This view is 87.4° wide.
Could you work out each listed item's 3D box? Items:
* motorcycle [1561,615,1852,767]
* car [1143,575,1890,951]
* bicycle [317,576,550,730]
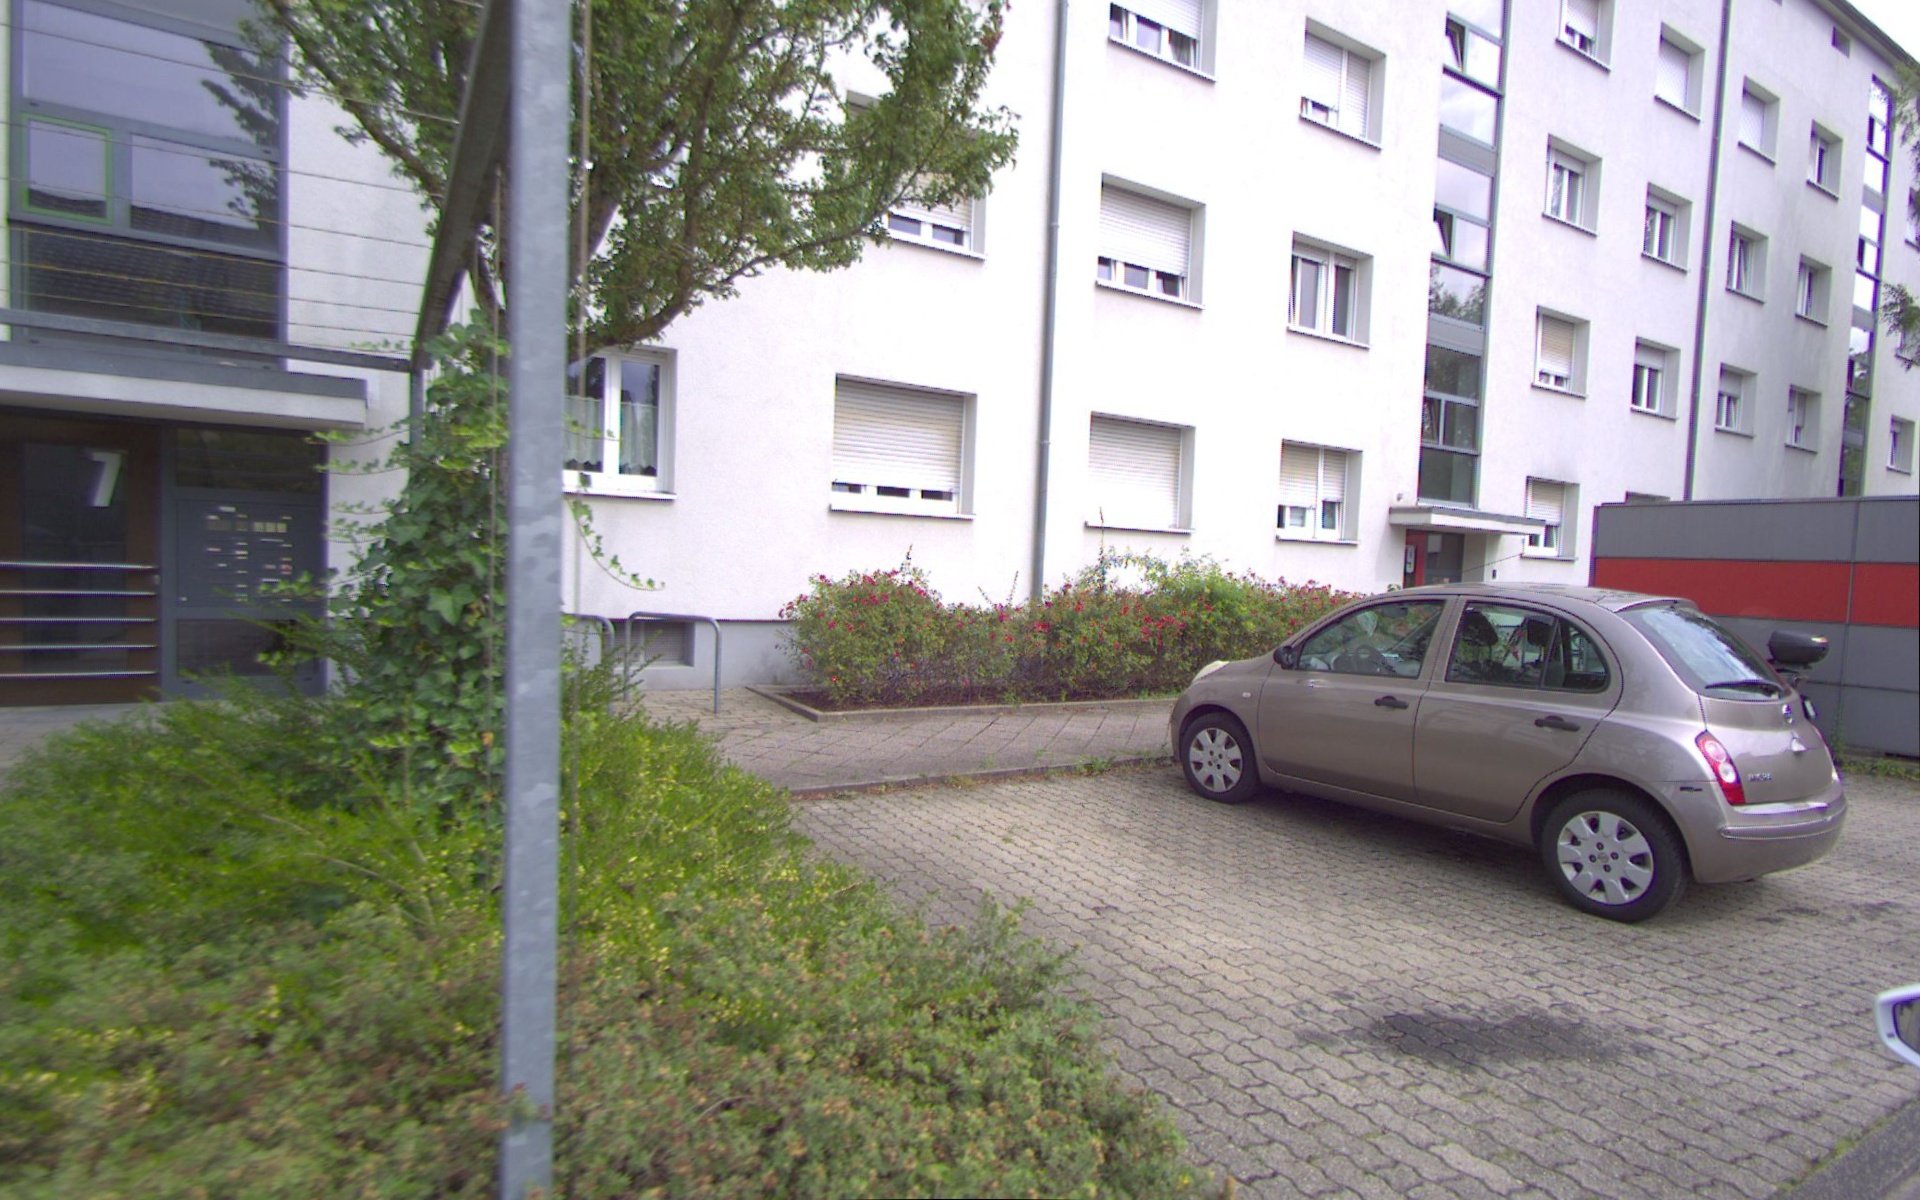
[{"bbox_3d":[7.045,0.792,9.629,0.628,1.152,2.130,-2,4,-31],"label":"motorcycle"},{"bbox_3d":[2.988,0.644,6.055,1.693,1.500,3.538,1,1,-35],"label":"car"},{"bbox_3d":[-4.059,0.370,7.725,1.775,1.038,0.479,3,3,19],"label":"bicycle"}]
